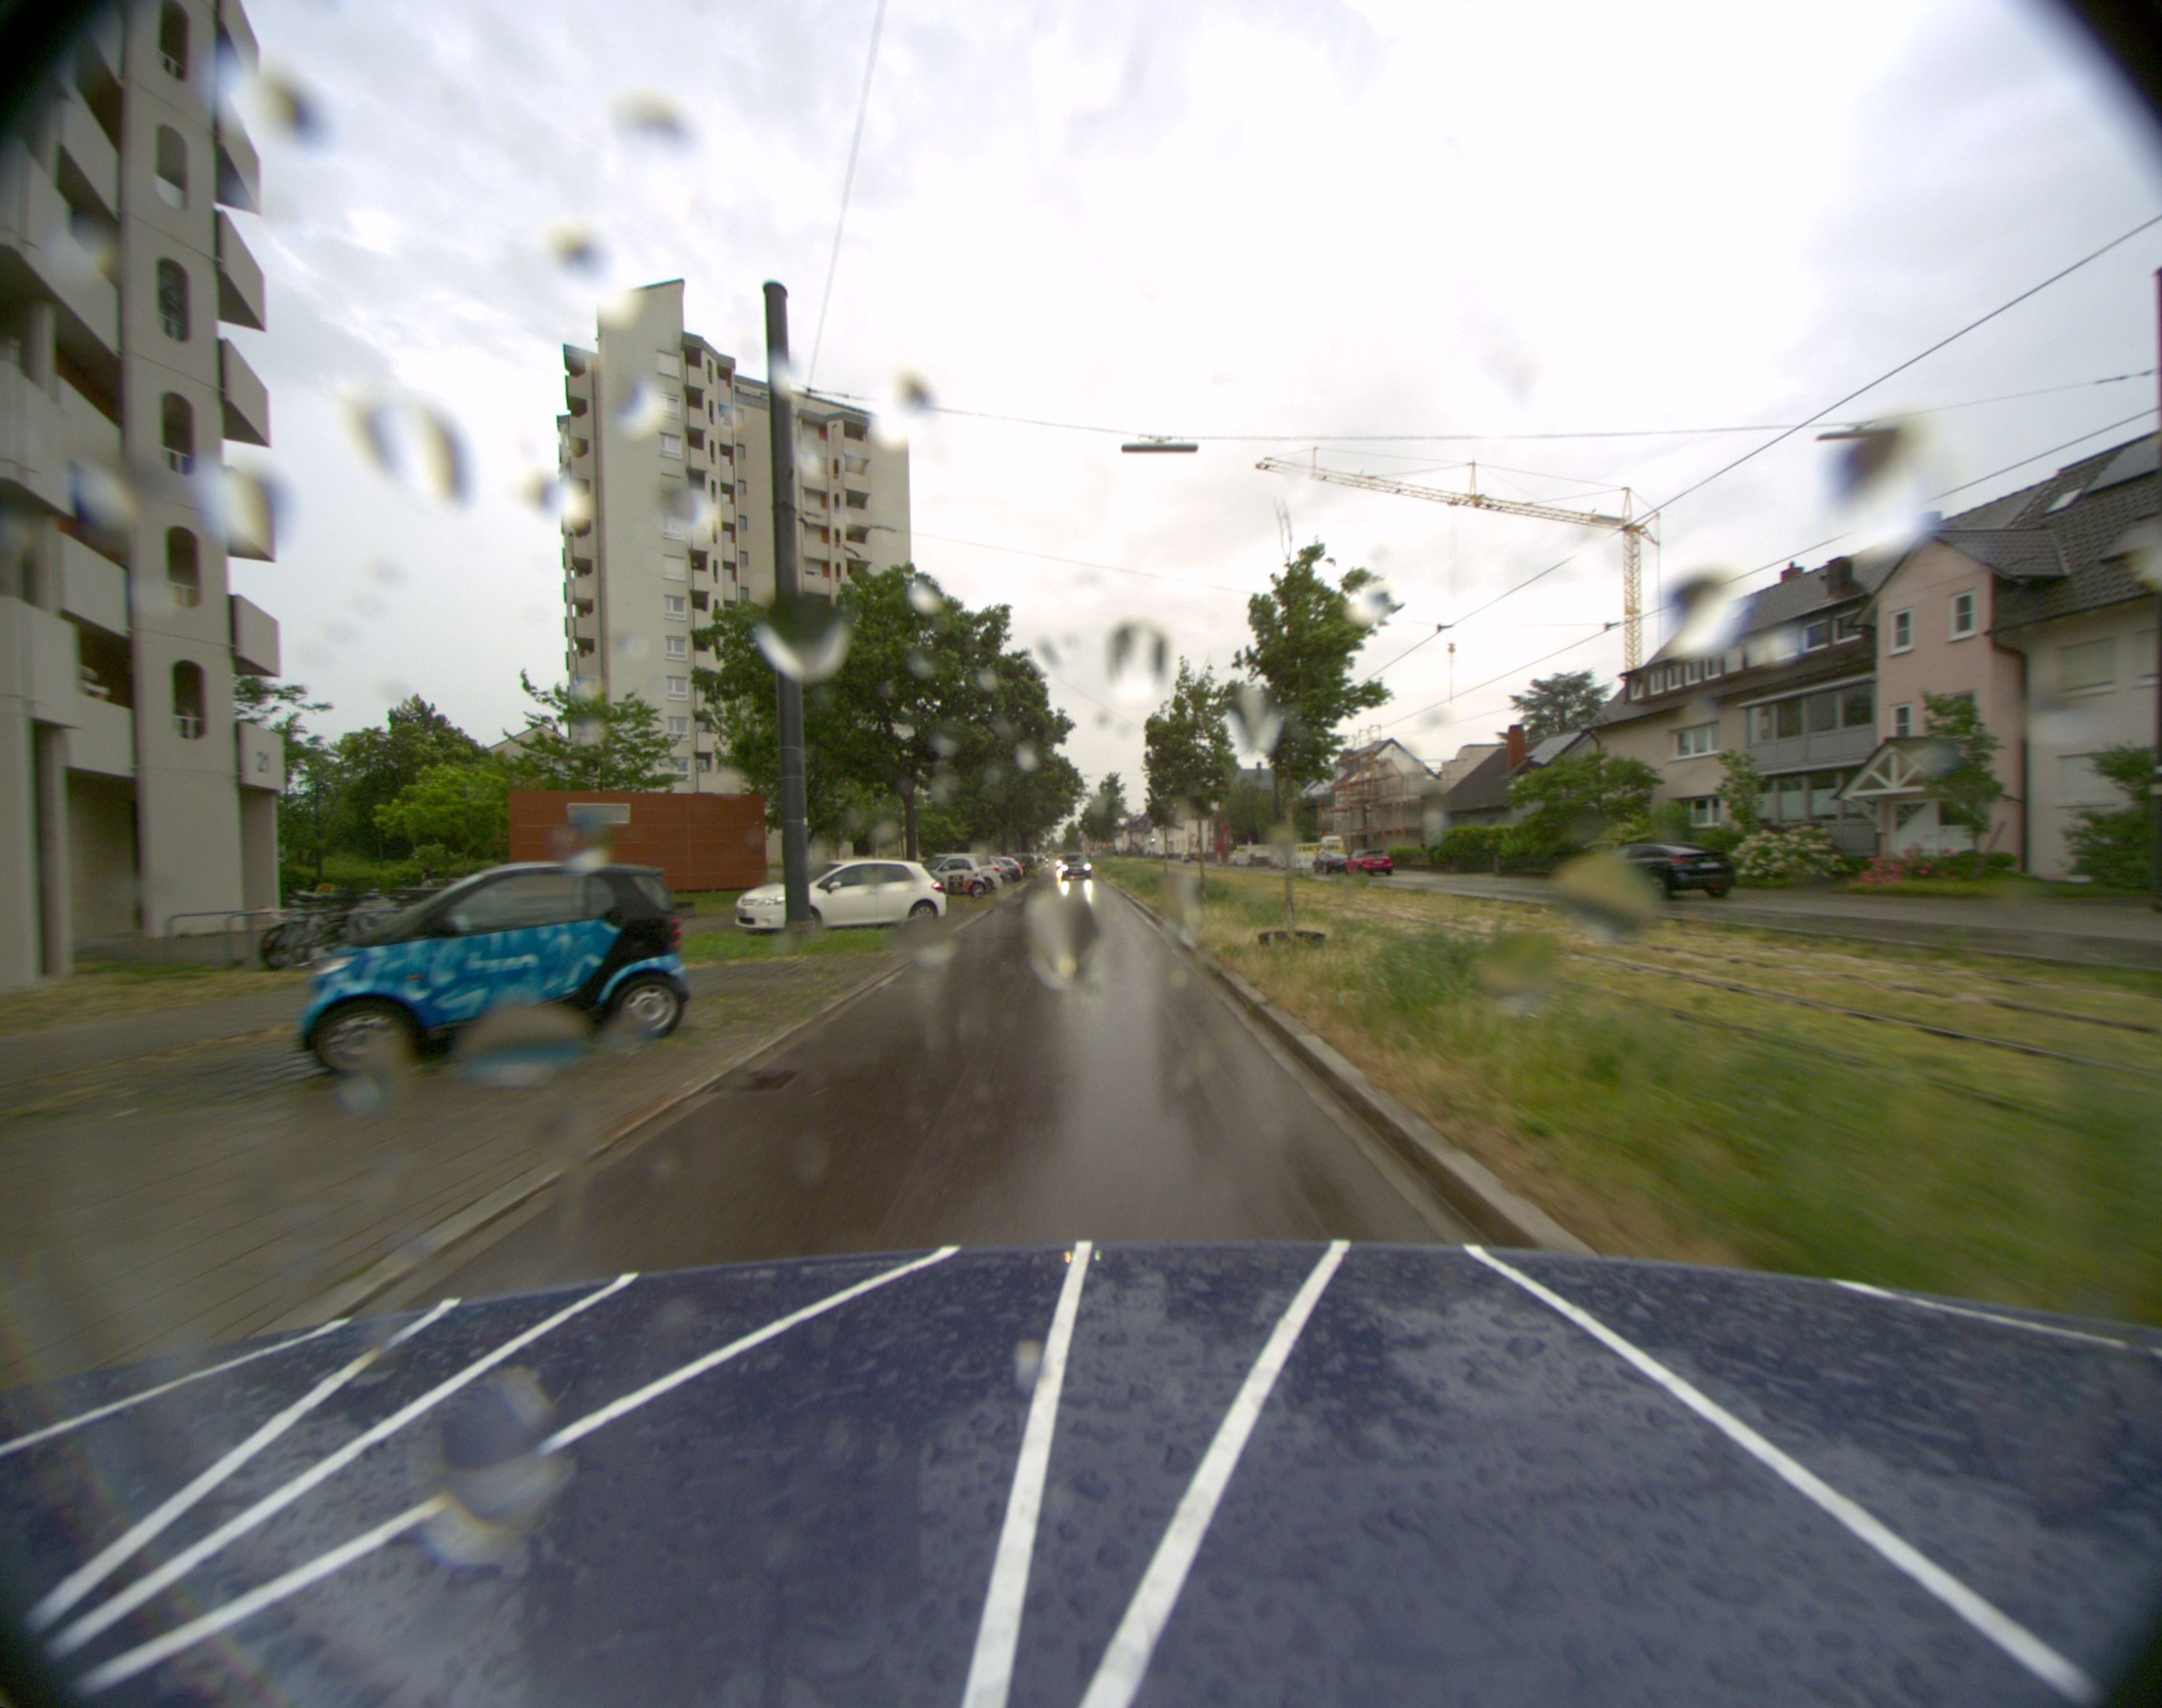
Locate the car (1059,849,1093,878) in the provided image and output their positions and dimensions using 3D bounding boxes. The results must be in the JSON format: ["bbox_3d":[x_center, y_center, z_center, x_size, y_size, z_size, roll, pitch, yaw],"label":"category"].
[{"bbox_3d":[-0.330,0.578,47.926,1.999,1.611,3.998,-2,1,-1],"label":"car"}]

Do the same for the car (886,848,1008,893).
[{"bbox_3d":[-5.306,0.654,30.408,4.471,1.662,1.808,2,-1,-40],"label":"car"}]

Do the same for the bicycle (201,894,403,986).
[{"bbox_3d":[-10.912,1.155,10.775,0.663,1.000,2.058,-2,1,0],"label":"bicycle"}]

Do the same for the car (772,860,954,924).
[{"bbox_3d":[-5.297,0.891,18.706,3.953,1.423,1.680,2,-1,-37],"label":"car"}]

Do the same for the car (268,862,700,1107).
[{"bbox_3d":[-4.864,0.882,6.459,2.570,1.539,1.598,-2,1,-40],"label":"car"}]

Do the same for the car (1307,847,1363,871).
[{"bbox_3d":[15.753,0.327,47.330,1.999,1.401,4.174,-2,-1,-1],"label":"car"}]

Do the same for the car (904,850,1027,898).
[{"bbox_3d":[-4.246,0.744,28.263,4.194,1.662,1.680,2,-1,-37],"label":"car"}]

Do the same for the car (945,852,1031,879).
[{"bbox_3d":[-5.250,0.665,43.050,4.470,1.456,1.815,2,-1,-35],"label":"car"}]

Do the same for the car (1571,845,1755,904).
[{"bbox_3d":[16.056,0.526,21.285,1.841,1.418,4.174,-2,0,-1],"label":"car"}]

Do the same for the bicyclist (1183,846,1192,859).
[{"bbox_3d":[13.681,-0.214,97.497,0.956,1.575,1.399,-2,2,-1],"label":"bicyclist"}]

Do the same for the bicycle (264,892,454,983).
[{"bbox_3d":[-10.104,1.123,10.774,0.663,1.000,2.058,-2,1,0],"label":"bicycle"}]

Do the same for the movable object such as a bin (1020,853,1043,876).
[{"bbox_3d":[-3.432,0.728,52.833,1.165,1.553,1.372,-3,2,-23],"label":"movable object such as a bin"}]

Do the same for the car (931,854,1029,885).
[{"bbox_3d":[-4.895,0.776,37.087,4.469,1.420,1.680,2,-1,-34],"label":"car"}]

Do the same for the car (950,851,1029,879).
[{"bbox_3d":[-5.544,0.686,46.229,4.469,1.533,1.680,2,1,-32],"label":"car"}]

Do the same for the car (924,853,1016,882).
[{"bbox_3d":[-5.808,0.728,39.937,4.470,1.420,1.805,2,-1,-38],"label":"car"}]

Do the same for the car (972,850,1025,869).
[{"bbox_3d":[-6.872,0.448,63.154,4.055,1.479,1.720,1,-1,-36],"label":"car"}]

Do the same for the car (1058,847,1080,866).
[{"bbox_3d":[-1.221,0.256,78.059,1.998,1.762,3.999,-2,1,1],"label":"car"}]

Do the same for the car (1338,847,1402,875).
[{"bbox_3d":[15.974,0.329,42.245,1.999,1.365,3.842,-2,1,-1],"label":"car"}]

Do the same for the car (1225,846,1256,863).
[{"bbox_3d":[16.271,0.033,77.805,1.999,1.618,4.249,-2,1,-3],"label":"car"}]

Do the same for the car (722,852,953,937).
[{"bbox_3d":[-4.970,0.777,15.820,4.195,1.538,1.760,2,-1,-40],"label":"car"}]

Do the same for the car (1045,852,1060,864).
[{"bbox_3d":[-4.364,0.651,117.110,1.998,1.696,3.999,-2,1,1],"label":"car"}]

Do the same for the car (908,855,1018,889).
[{"bbox_3d":[-5.197,0.798,33.630,4.470,1.401,1.763,2,-1,-35],"label":"car"}]

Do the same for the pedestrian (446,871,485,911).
[{"bbox_3d":[-32.321,1.922,39.916,1.279,2.002,1.309,-3,2,-28],"label":"pedestrian"}]

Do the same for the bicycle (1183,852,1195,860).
[{"bbox_3d":[13.722,0.275,96.984,0.937,1.037,3.433,-1,1,-2],"label":"bicycle"}]
